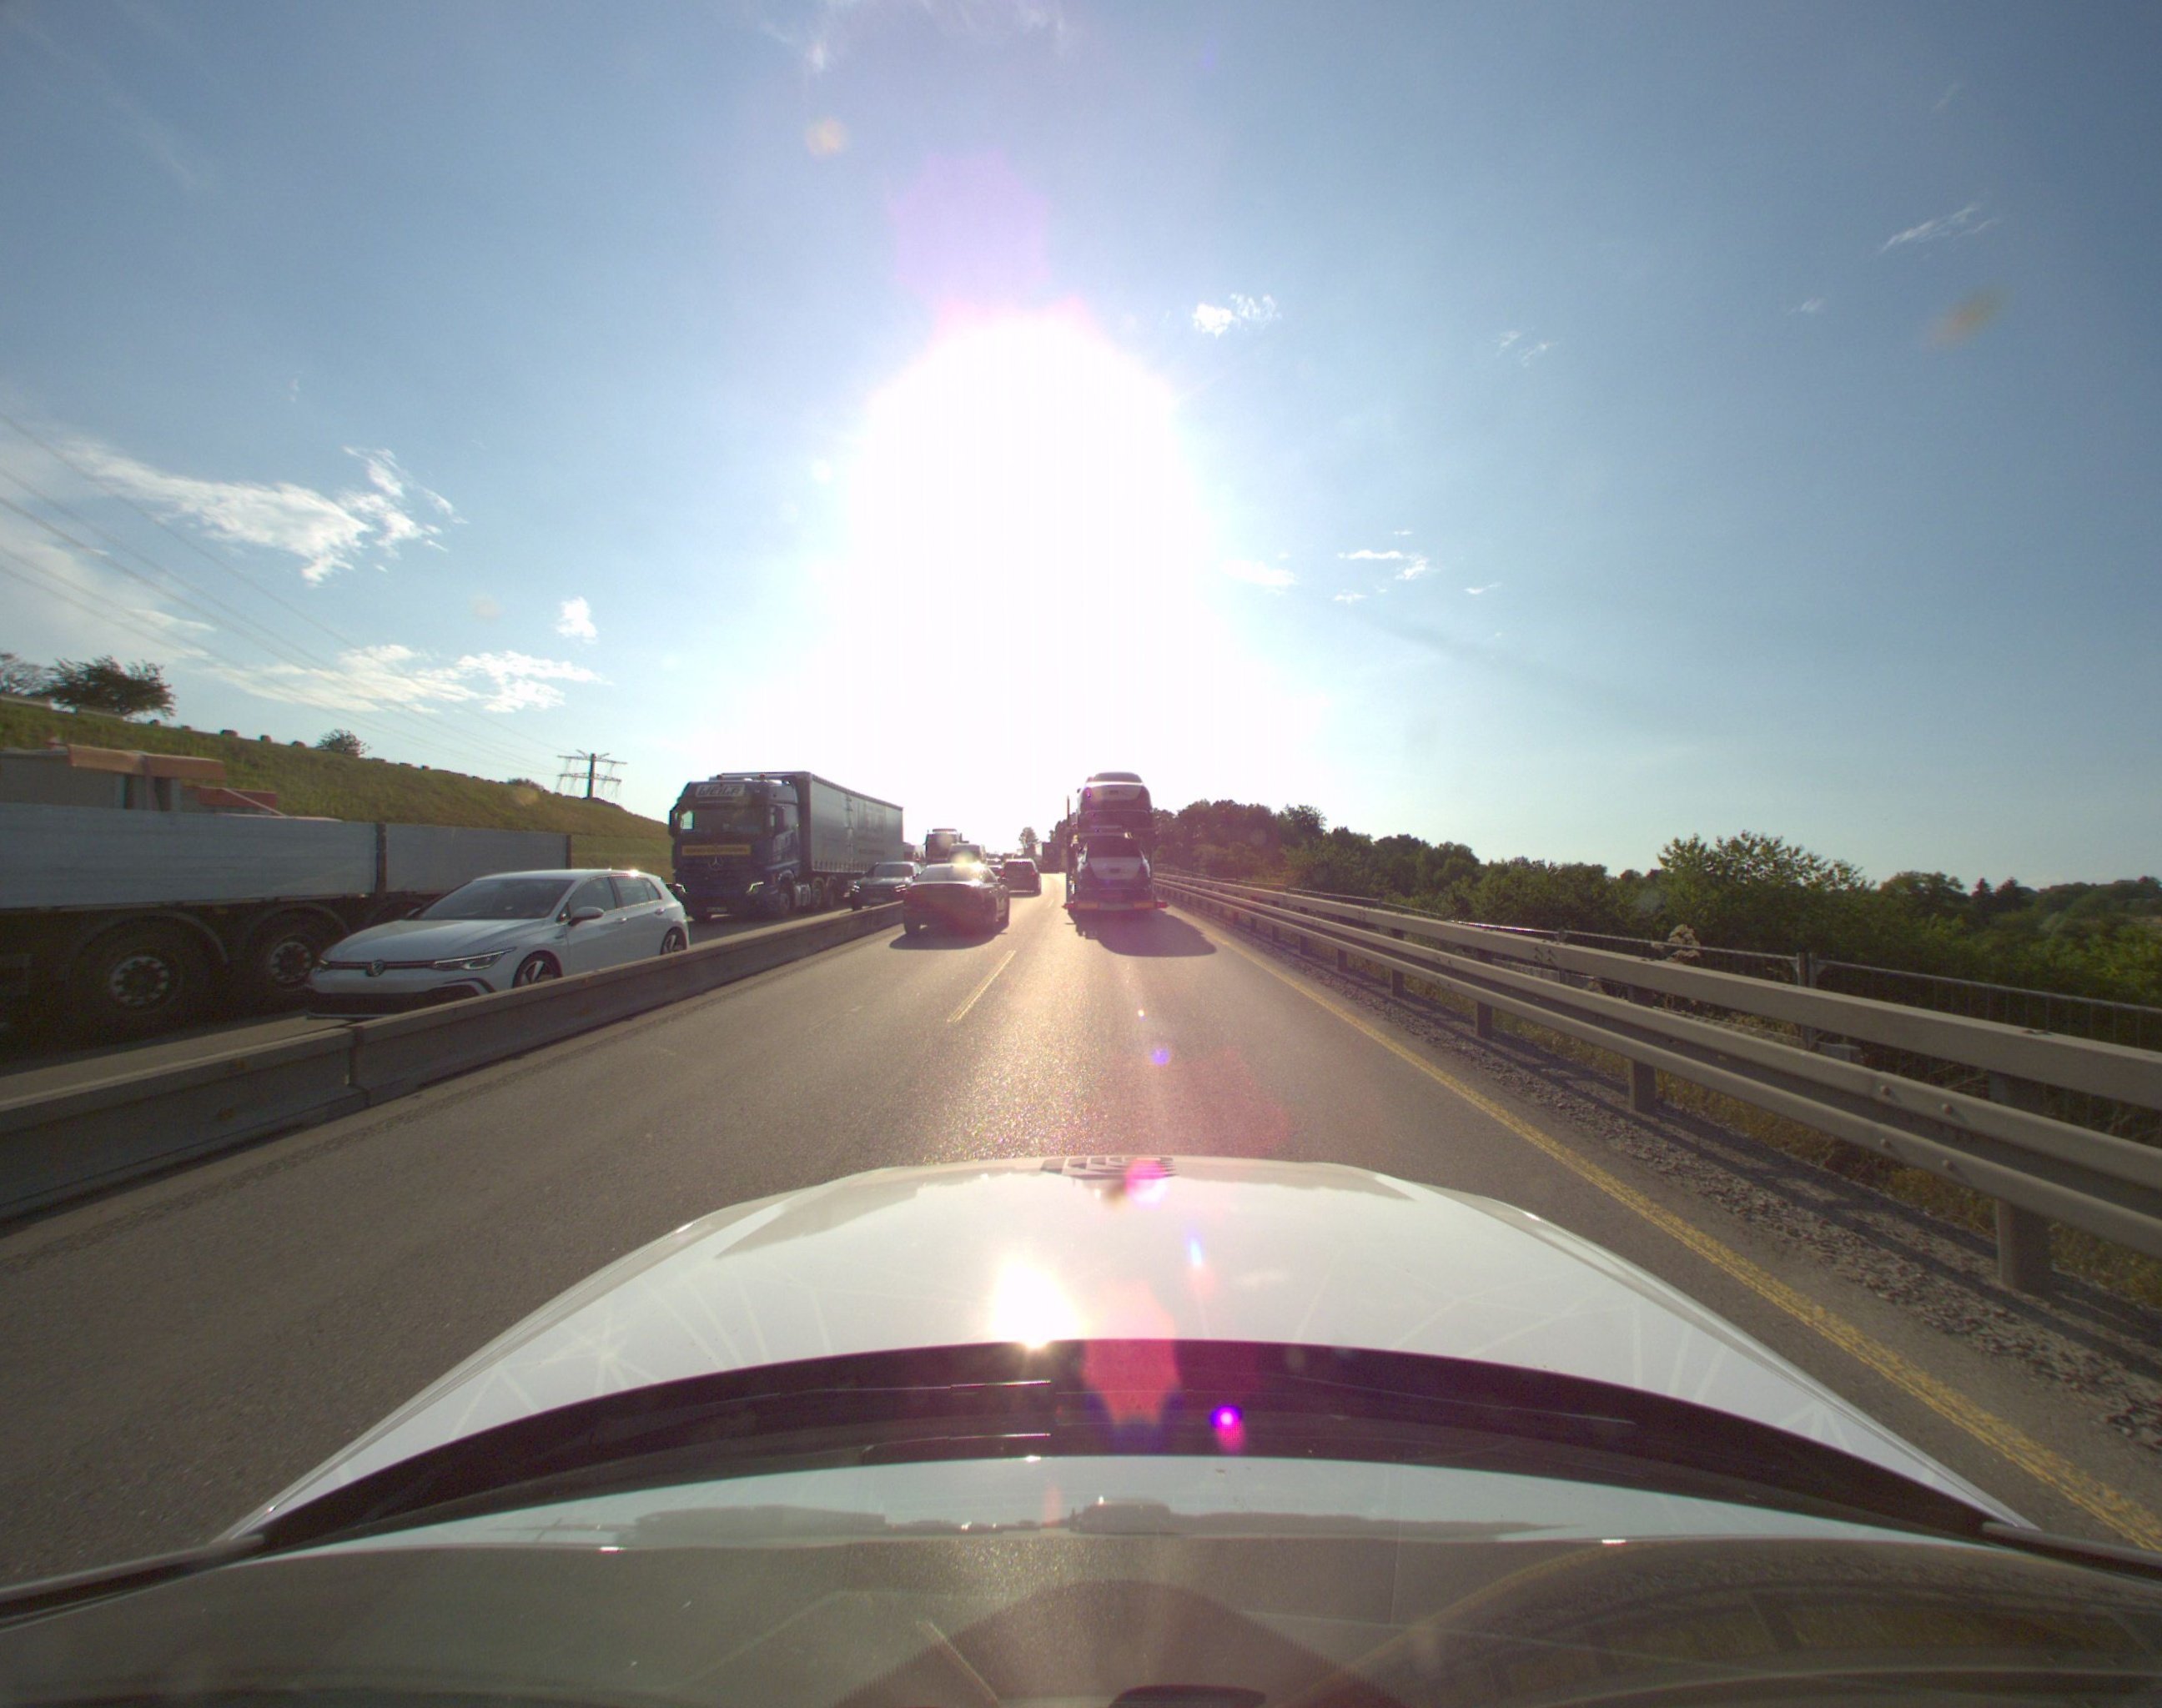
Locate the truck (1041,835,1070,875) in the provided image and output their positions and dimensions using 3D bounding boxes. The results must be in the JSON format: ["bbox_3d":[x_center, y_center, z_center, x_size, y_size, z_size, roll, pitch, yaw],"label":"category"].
[{"bbox_3d":[-3.603,0.167,110.763,3.281,5.237,9.916,-1,-1,-5],"label":"truck"}]

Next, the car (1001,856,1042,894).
[{"bbox_3d":[-2.645,0.928,36.864,1.687,1.596,3.996,-1,-1,-3],"label":"car"}]

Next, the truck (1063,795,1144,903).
[{"bbox_3d":[0.715,-0.121,34.000,2.830,3.792,9.981,-1,-1,-1],"label":"truck"}]

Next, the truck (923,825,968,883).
[{"bbox_3d":[-9.996,0.041,60.589,2.497,4.066,5.878,-1,-1,-3],"label":"truck"}]

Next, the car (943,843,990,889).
[{"bbox_3d":[-6.657,0.709,48.082,2.052,2.500,6.769,-1,-1,-2],"label":"car"}]

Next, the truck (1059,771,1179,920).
[{"bbox_3d":[0.855,-0.142,24.597,2.790,3.497,10.601,-1,-1,-1],"label":"truck"}]

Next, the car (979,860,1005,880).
[{"bbox_3d":[-7.601,1.362,70.184,1.865,1.694,4.592,-1,-1,-2],"label":"car"}]

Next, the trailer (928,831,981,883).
[{"bbox_3d":[-10.367,0.328,68.476,2.689,3.873,15.373,-1,-1,-3],"label":"trailer"}]

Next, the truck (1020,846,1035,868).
[{"bbox_3d":[-9.349,0.607,143.069,2.526,3.648,8.892,-1,-1,-4],"label":"truck"}]

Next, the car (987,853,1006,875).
[{"bbox_3d":[-10.145,1.232,97.818,2.101,2.482,6.057,-1,-1,-4],"label":"car"}]

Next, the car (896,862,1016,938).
[{"bbox_3d":[-2.629,0.921,18.355,1.928,1.399,4.960,-1,0,0],"label":"car"}]

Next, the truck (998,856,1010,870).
[{"bbox_3d":[-18.097,2.118,192.235,2.585,3.170,6.668,-1,-1,-3],"label":"truck"}]

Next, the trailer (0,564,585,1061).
[{"bbox_3d":[-9.343,-0.298,6.125,2.511,3.725,13.978,-1,-1,1],"label":"trailer"}]

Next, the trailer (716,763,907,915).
[{"bbox_3d":[-8.944,-0.343,29.624,2.300,4.130,14.593,-1,-1,-1],"label":"trailer"}]

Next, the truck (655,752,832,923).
[{"bbox_3d":[-8.984,-0.367,22.411,2.495,4.066,5.663,-1,-1,-1],"label":"truck"}]

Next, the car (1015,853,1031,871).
[{"bbox_3d":[-8.438,1.172,118.730,1.915,2.492,5.406,-1,-1,-1],"label":"car"}]

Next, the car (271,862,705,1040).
[{"bbox_3d":[-6.110,0.859,9.173,1.753,1.508,4.254,-1,-1,0],"label":"car"}]

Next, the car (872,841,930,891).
[{"bbox_3d":[-9.881,0.674,45.078,2.152,2.558,5.583,-1,-1,-2],"label":"car"}]

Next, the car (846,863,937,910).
[{"bbox_3d":[-6.021,0.988,26.460,1.753,1.378,4.768,-1,-1,1],"label":"car"}]
